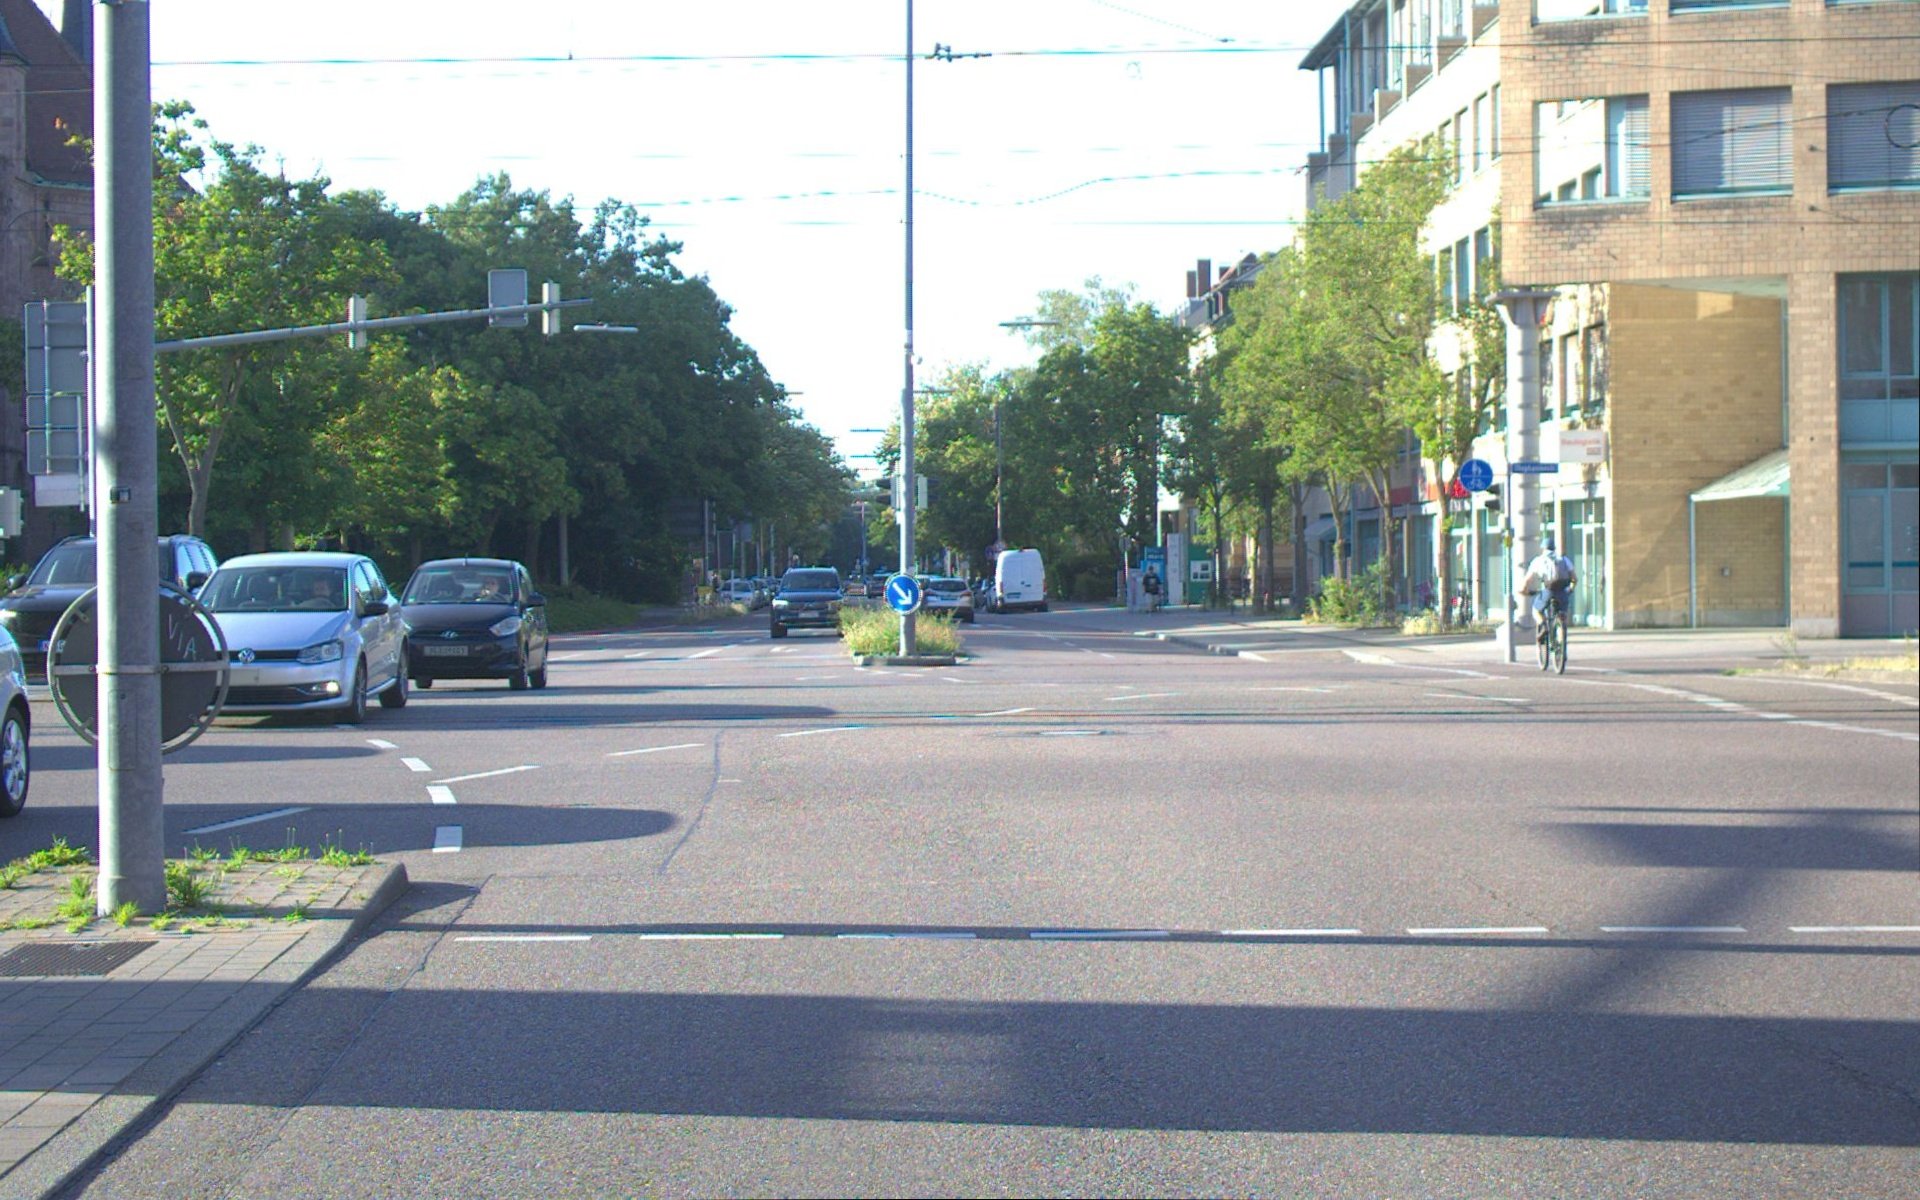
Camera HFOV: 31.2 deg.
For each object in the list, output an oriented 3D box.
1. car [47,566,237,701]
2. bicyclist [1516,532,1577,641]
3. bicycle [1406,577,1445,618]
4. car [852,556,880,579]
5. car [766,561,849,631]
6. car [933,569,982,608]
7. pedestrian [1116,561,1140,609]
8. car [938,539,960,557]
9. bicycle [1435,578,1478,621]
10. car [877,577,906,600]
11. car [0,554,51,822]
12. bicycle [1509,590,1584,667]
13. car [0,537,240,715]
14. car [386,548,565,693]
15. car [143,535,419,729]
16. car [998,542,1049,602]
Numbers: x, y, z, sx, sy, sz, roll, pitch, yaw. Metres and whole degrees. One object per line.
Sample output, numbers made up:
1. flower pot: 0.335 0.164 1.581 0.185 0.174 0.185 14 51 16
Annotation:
1. car: -10.312 0.391 43.545 1.578 1.539 3.477 -2 1 -1
2. bicyclist: 7.467 -0.177 43.803 0.592 1.364 0.930 1 0 0
3. bicycle: 11.461 -0.065 84.695 0.646 0.991 2.081 0 0 -1
4. car: -6.862 -2.354 251.140 1.886 1.665 4.000 1 1 0
5. car: -3.856 -0.090 87.769 1.993 1.718 5.031 -1 0 -1
6. car: -0.096 -0.402 114.752 1.594 1.263 3.266 0 1 0
7. pedestrian: 6.385 -0.572 130.550 0.847 1.797 0.776 0 1 -1
8. car: -0.806 -3.856 255.152 1.594 1.263 3.266 0 1 0
9. bicycle: 11.555 -0.019 80.132 0.646 0.991 2.081 0 0 -1
10. car: -3.826 -0.640 192.964 1.594 1.263 3.266 0 1 0
11. car: -5.998 0.526 17.403 1.708 1.420 4.103 -2 1 -1
12. bicycle: 7.474 0.351 43.901 0.592 0.940 1.978 1 1 0
13. car: -9.058 0.220 36.439 1.816 1.705 4.786 -2 1 0
14. car: -5.578 0.199 39.906 1.578 1.539 3.477 -2 1 -1
15. car: -5.907 0.227 30.281 1.675 1.539 3.806 -2 1 -1
16. car: 2.643 -1.184 144.511 1.993 2.432 4.000 1 1 0
